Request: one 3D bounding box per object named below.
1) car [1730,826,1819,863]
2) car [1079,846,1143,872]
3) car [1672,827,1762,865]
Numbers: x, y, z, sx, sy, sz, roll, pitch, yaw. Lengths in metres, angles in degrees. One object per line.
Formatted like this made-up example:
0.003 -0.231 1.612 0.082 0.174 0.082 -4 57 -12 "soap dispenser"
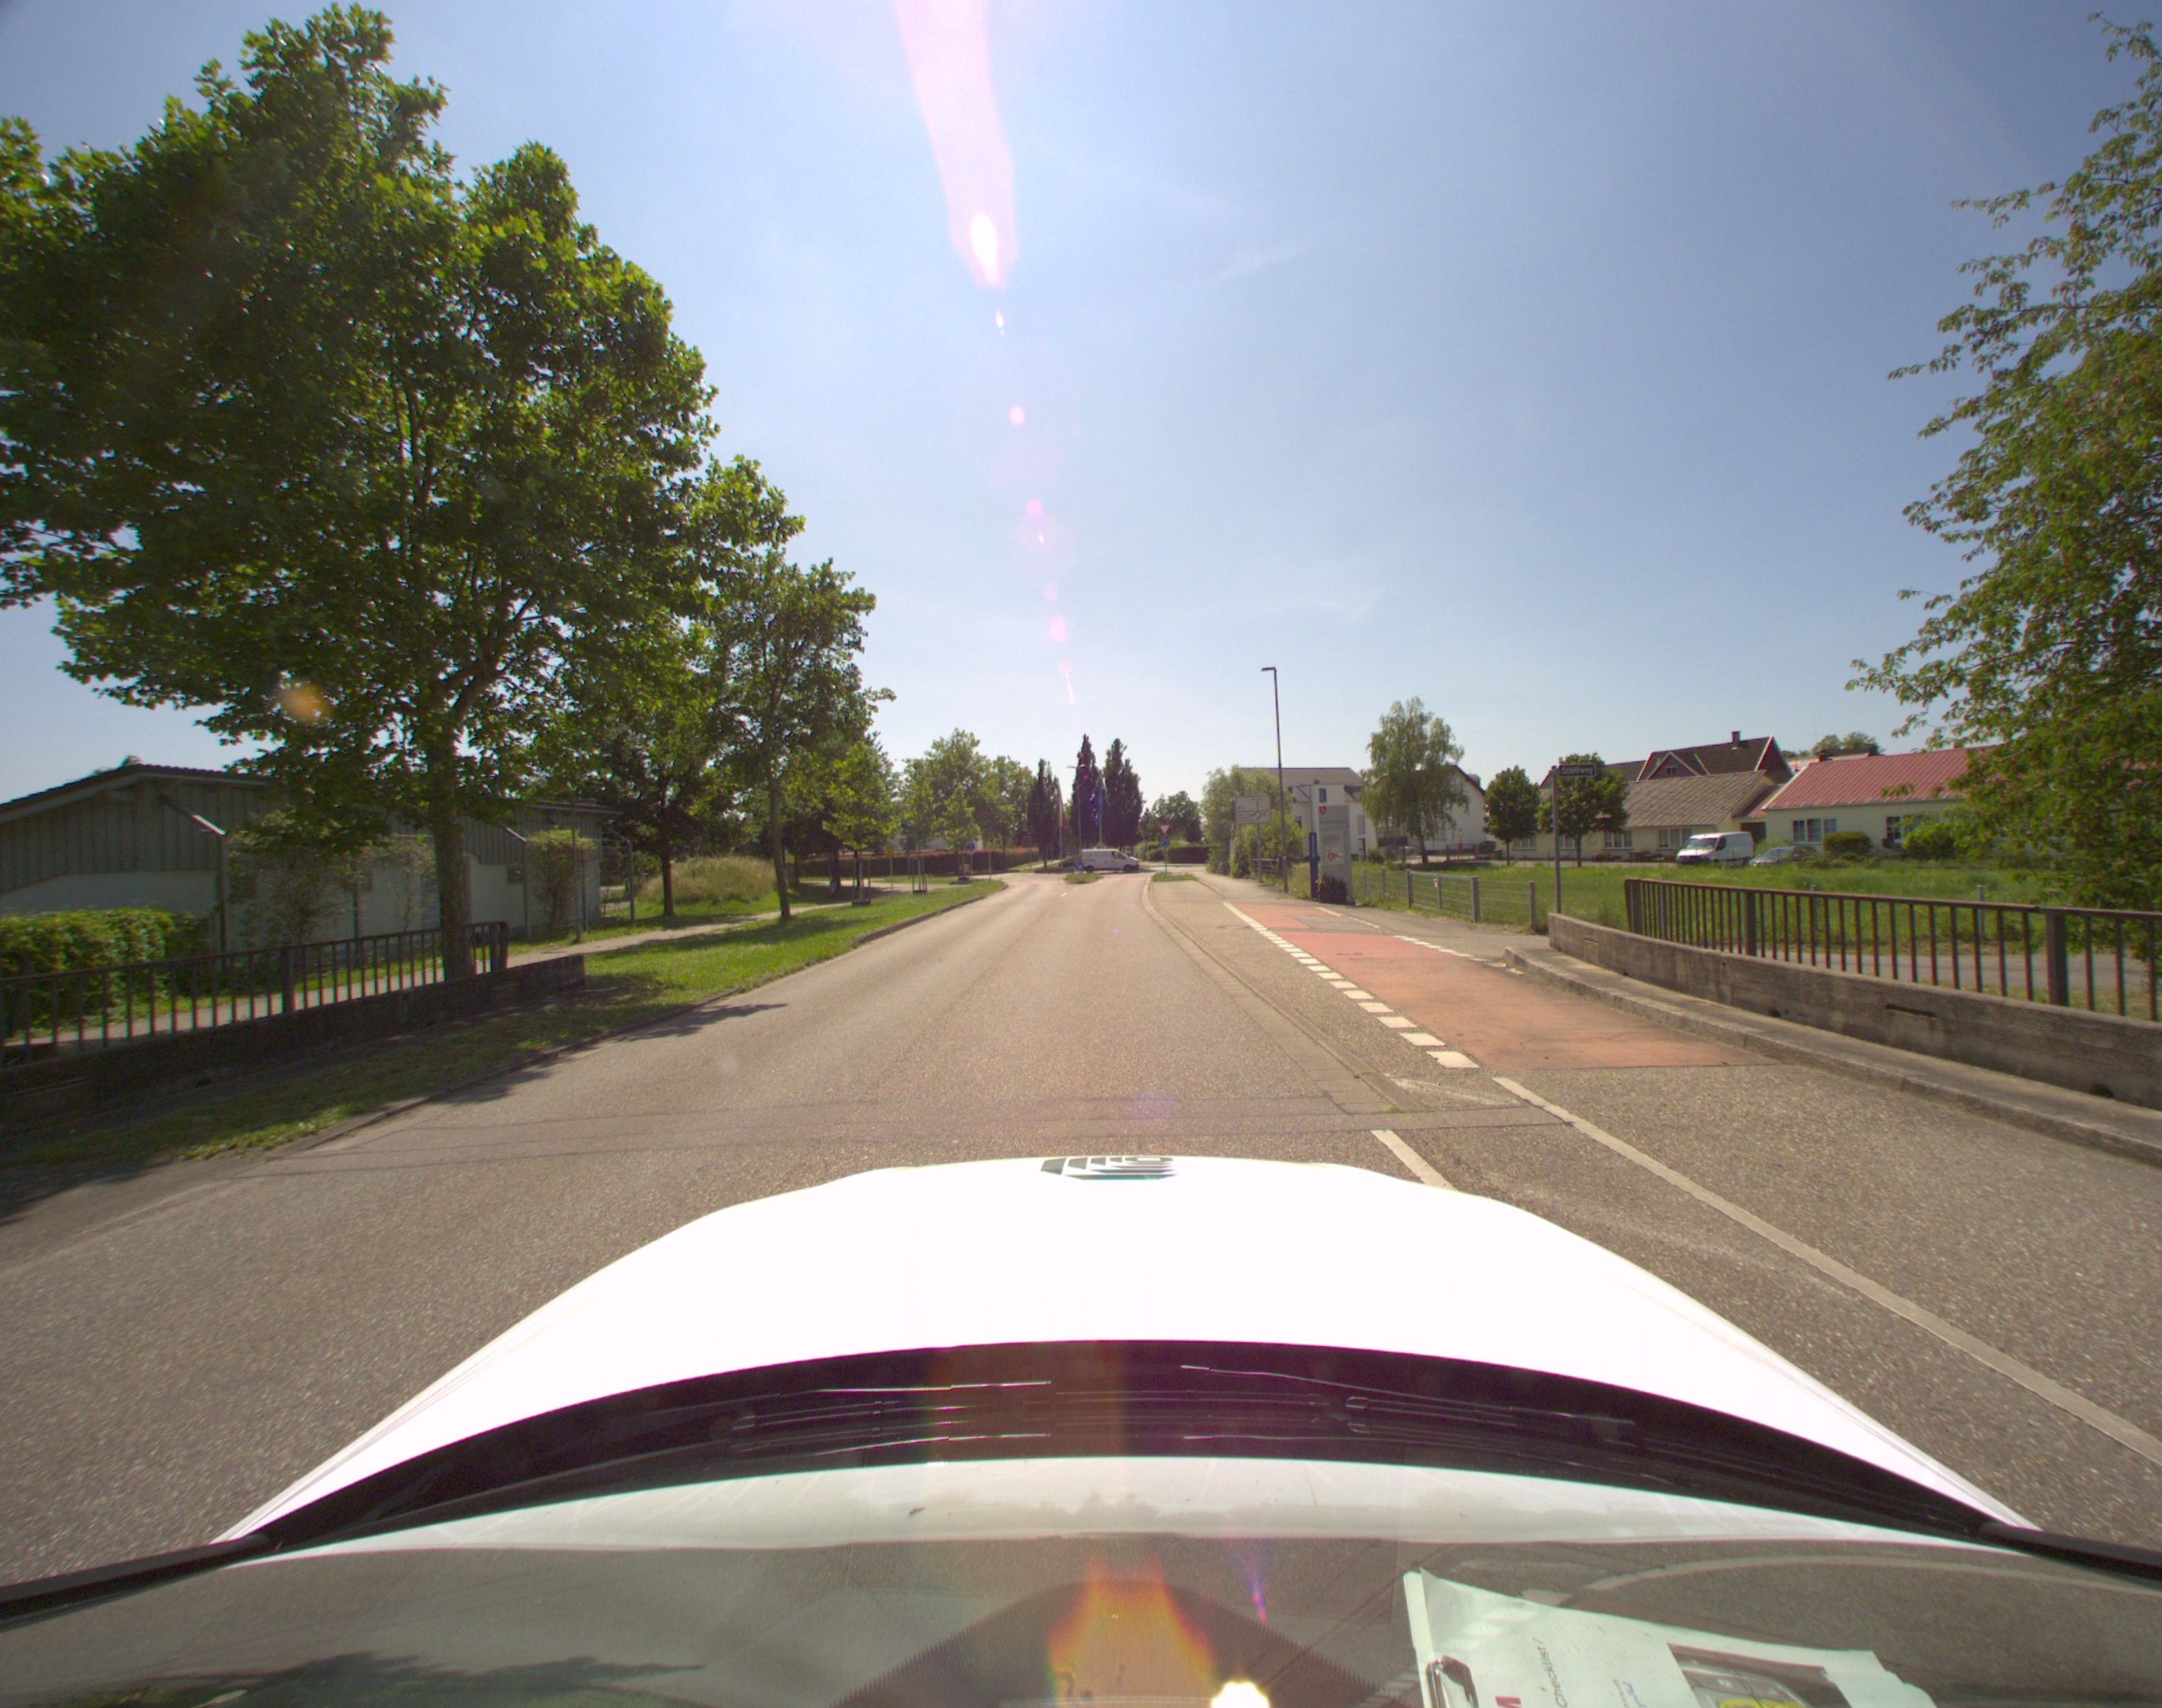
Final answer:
40.661 -0.543 47.735 4.940 2.014 2.052 -1 -2 -25 "car"
2.497 0.410 66.902 5.112 2.014 2.136 -1 -1 2 "car"
39.305 -0.482 50.320 5.192 2.201 2.197 -1 -1 -25 "car"
